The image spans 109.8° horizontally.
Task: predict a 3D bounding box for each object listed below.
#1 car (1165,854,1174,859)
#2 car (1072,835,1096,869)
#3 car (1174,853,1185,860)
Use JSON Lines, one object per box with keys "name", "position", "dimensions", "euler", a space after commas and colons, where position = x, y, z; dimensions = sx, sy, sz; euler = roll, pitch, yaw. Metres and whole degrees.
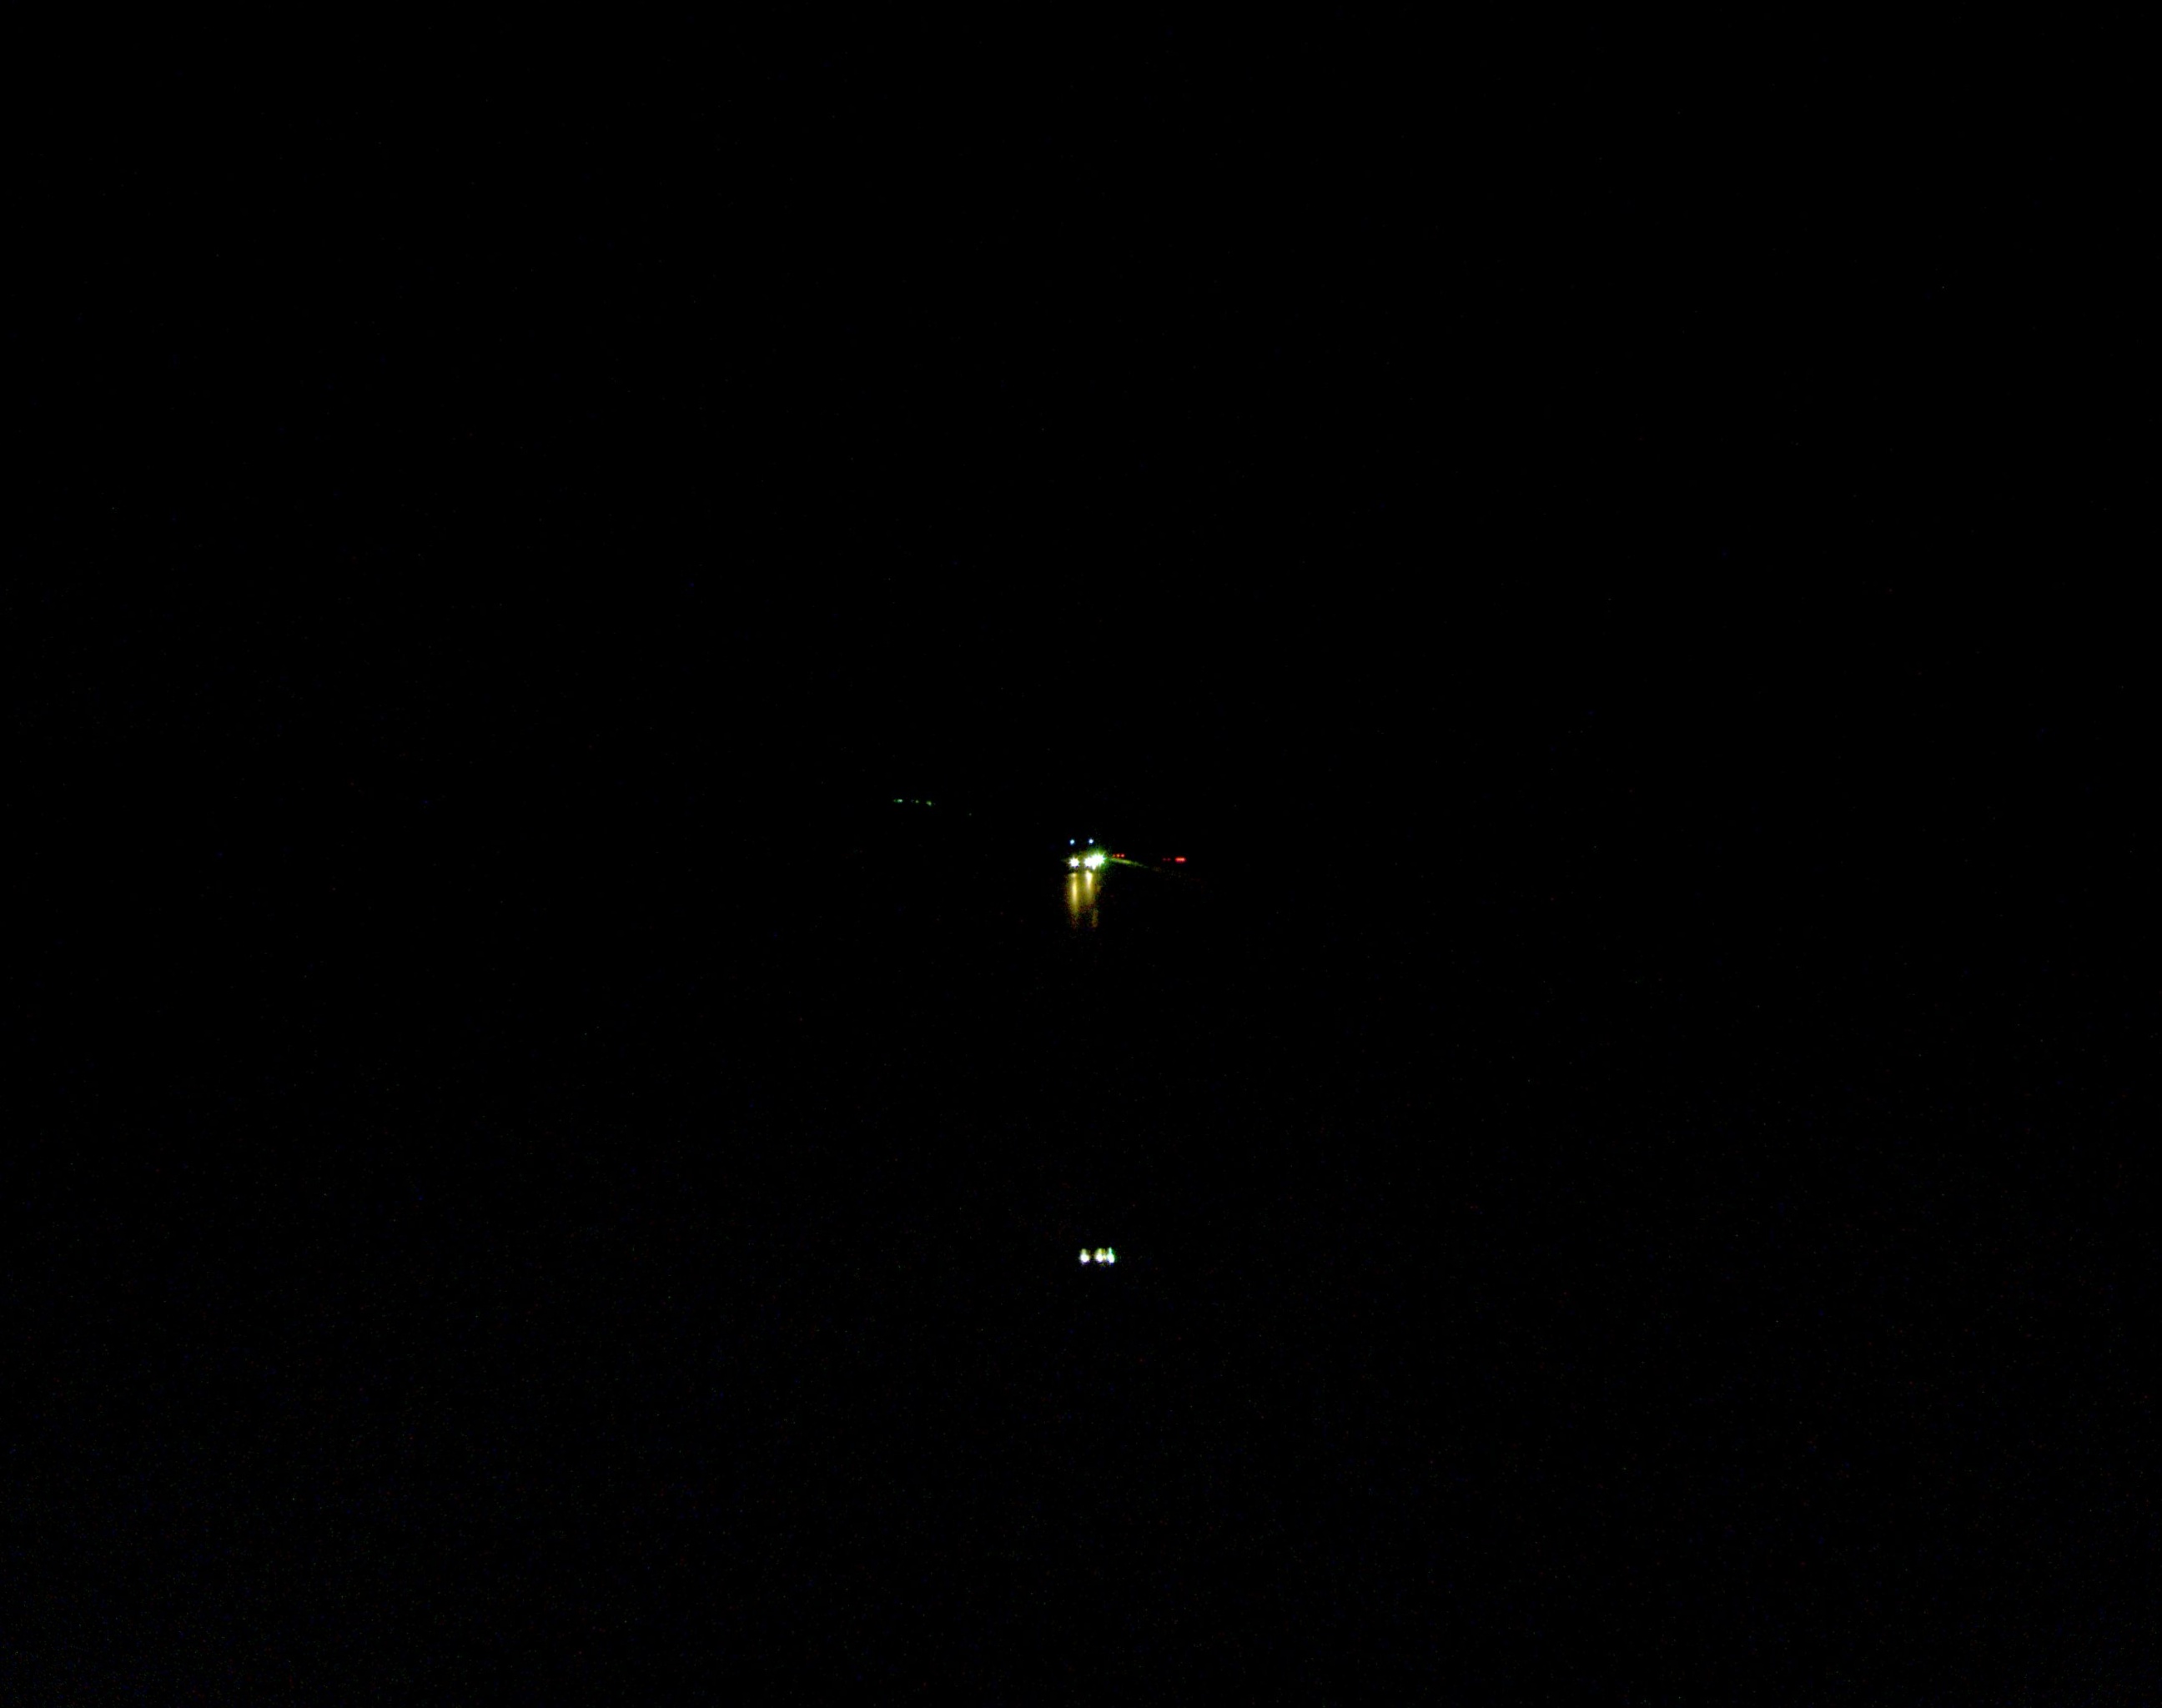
{"name": "car", "position": [24.108, 0.589, 206.998], "dimensions": [1.908, 1.275, 4.350], "euler": [0, 0, 2]}
{"name": "car", "position": [0.361, -0.203, 77.514], "dimensions": [2.255, 3.205, 6.878], "euler": [-2, 1, 2]}
{"name": "car", "position": [22.113, 0.591, 170.295], "dimensions": [1.968, 1.529, 5.185], "euler": [0, 0, 2]}
